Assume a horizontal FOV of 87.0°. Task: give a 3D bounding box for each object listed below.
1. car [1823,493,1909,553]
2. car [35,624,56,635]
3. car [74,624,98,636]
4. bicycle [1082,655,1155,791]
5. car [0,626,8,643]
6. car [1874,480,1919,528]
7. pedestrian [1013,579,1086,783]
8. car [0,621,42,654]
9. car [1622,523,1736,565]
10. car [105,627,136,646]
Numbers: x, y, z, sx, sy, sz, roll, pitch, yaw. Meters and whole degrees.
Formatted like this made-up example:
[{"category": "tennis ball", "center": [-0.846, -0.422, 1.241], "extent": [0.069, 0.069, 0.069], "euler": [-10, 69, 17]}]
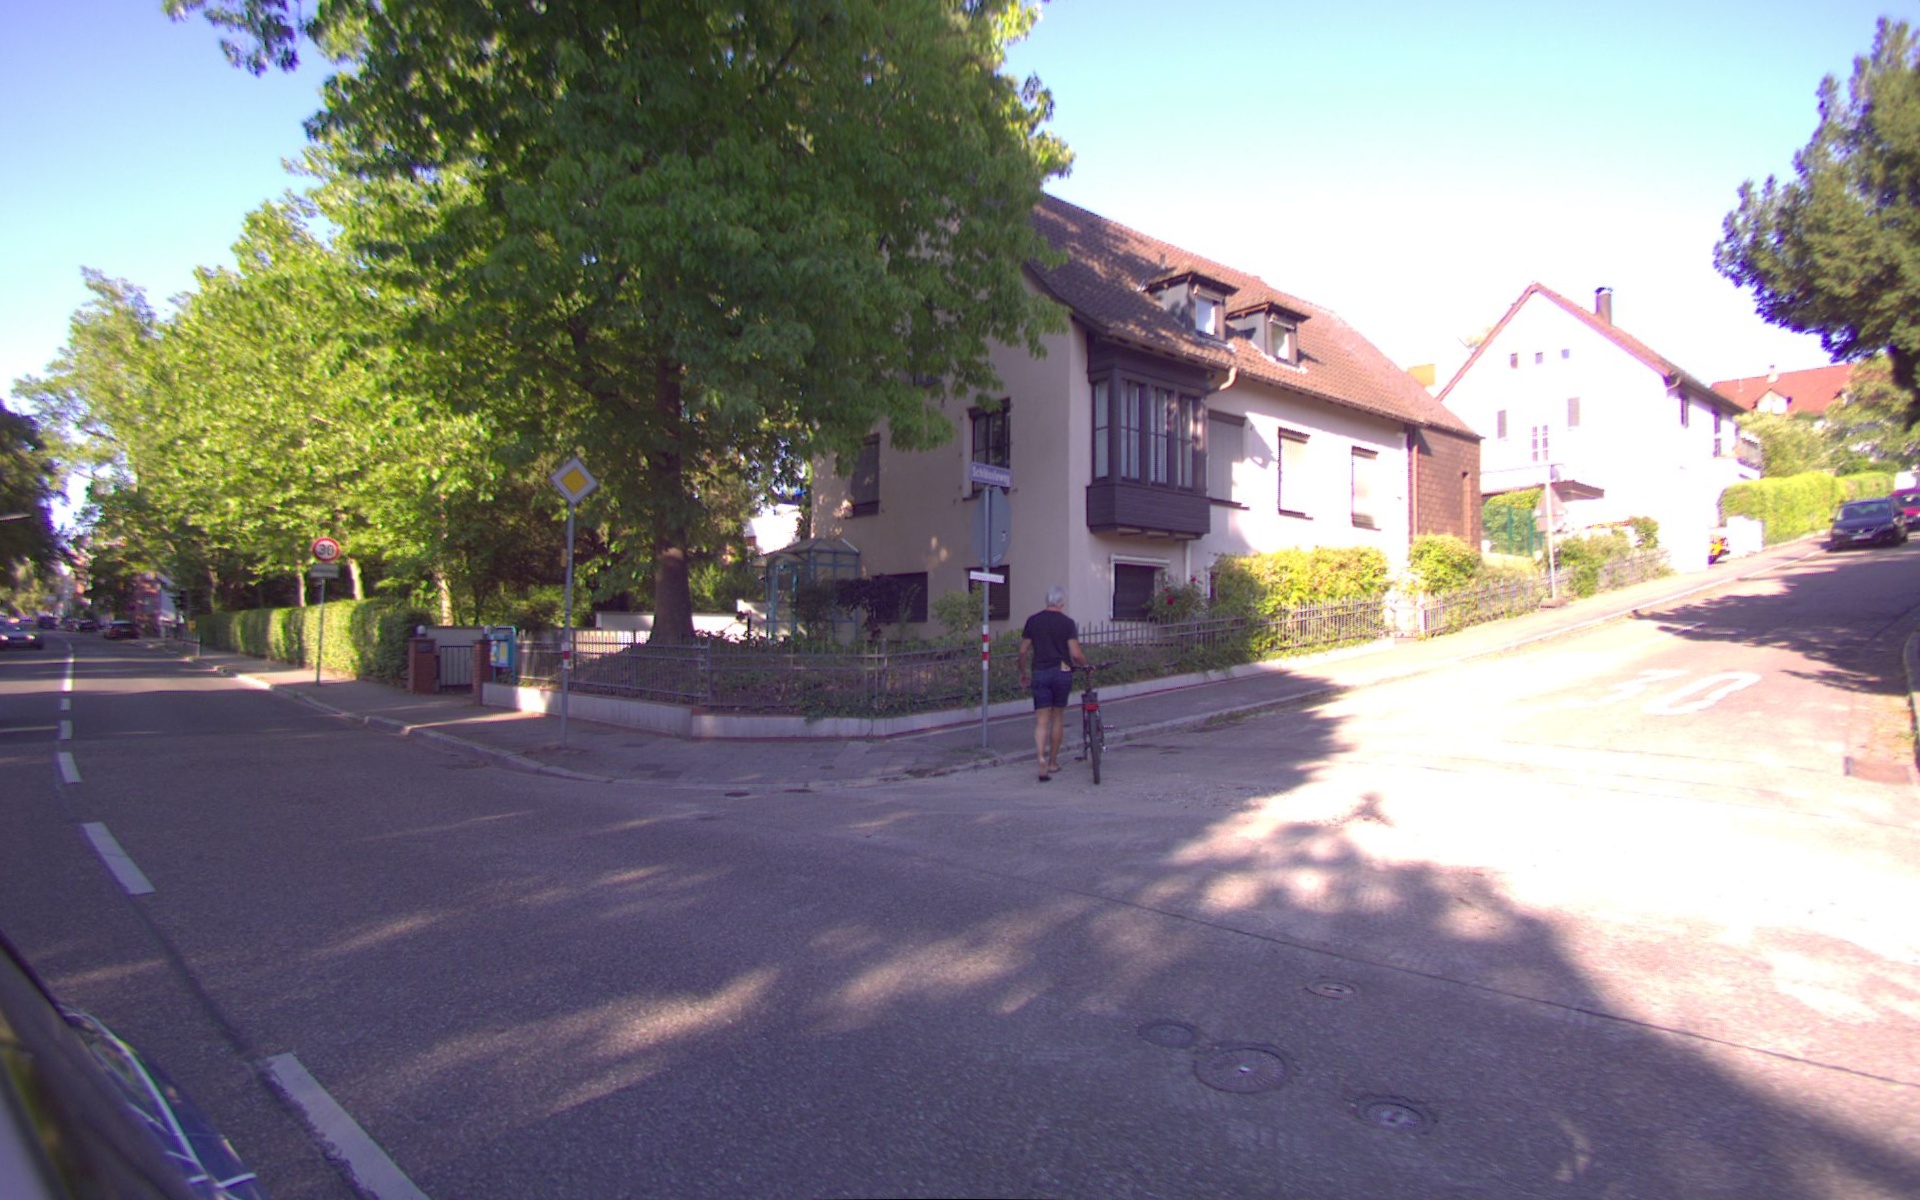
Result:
[{"category": "car", "center": [31.659, -2.706, 35.330], "extent": [2.001, 1.718, 3.944], "euler": [-2, 5, 45]}, {"category": "car", "center": [-131.709, 4.269, 145.759], "extent": [3.936, 1.393, 1.799], "euler": [0, -5, 44]}, {"category": "car", "center": [-105.910, 3.630, 122.595], "extent": [3.936, 1.393, 1.799], "euler": [0, -5, 44]}, {"category": "bicycle", "center": [1.494, 1.081, 9.374], "extent": [0.555, 1.051, 1.811], "euler": [-3, -1, 11]}, {"category": "car", "center": [-85.474, 2.977, 89.313], "extent": [3.936, 1.393, 1.799], "euler": [0, -5, 44]}, {"category": "car", "center": [39.986, -3.994, 42.442], "extent": [3.938, 1.719, 2.003], "euler": [-1, 0, -41]}, {"category": "pedestrian", "center": [0.869, 0.749, 9.681], "extent": [0.548, 1.840, 0.940], "euler": [-3, -1, 10]}, {"category": "car", "center": [-49.302, 1.935, 52.871], "extent": [1.969, 1.652, 4.005], "euler": [-1, 0, -42]}, {"category": "car", "center": [24.521, -1.870, 34.548], "extent": [1.459, 1.231, 2.894], "euler": [-1, 0, -41]}, {"category": "car", "center": [-67.122, 2.910, 80.887], "extent": [1.665, 1.445, 3.619], "euler": [-2, 0, -43]}]
